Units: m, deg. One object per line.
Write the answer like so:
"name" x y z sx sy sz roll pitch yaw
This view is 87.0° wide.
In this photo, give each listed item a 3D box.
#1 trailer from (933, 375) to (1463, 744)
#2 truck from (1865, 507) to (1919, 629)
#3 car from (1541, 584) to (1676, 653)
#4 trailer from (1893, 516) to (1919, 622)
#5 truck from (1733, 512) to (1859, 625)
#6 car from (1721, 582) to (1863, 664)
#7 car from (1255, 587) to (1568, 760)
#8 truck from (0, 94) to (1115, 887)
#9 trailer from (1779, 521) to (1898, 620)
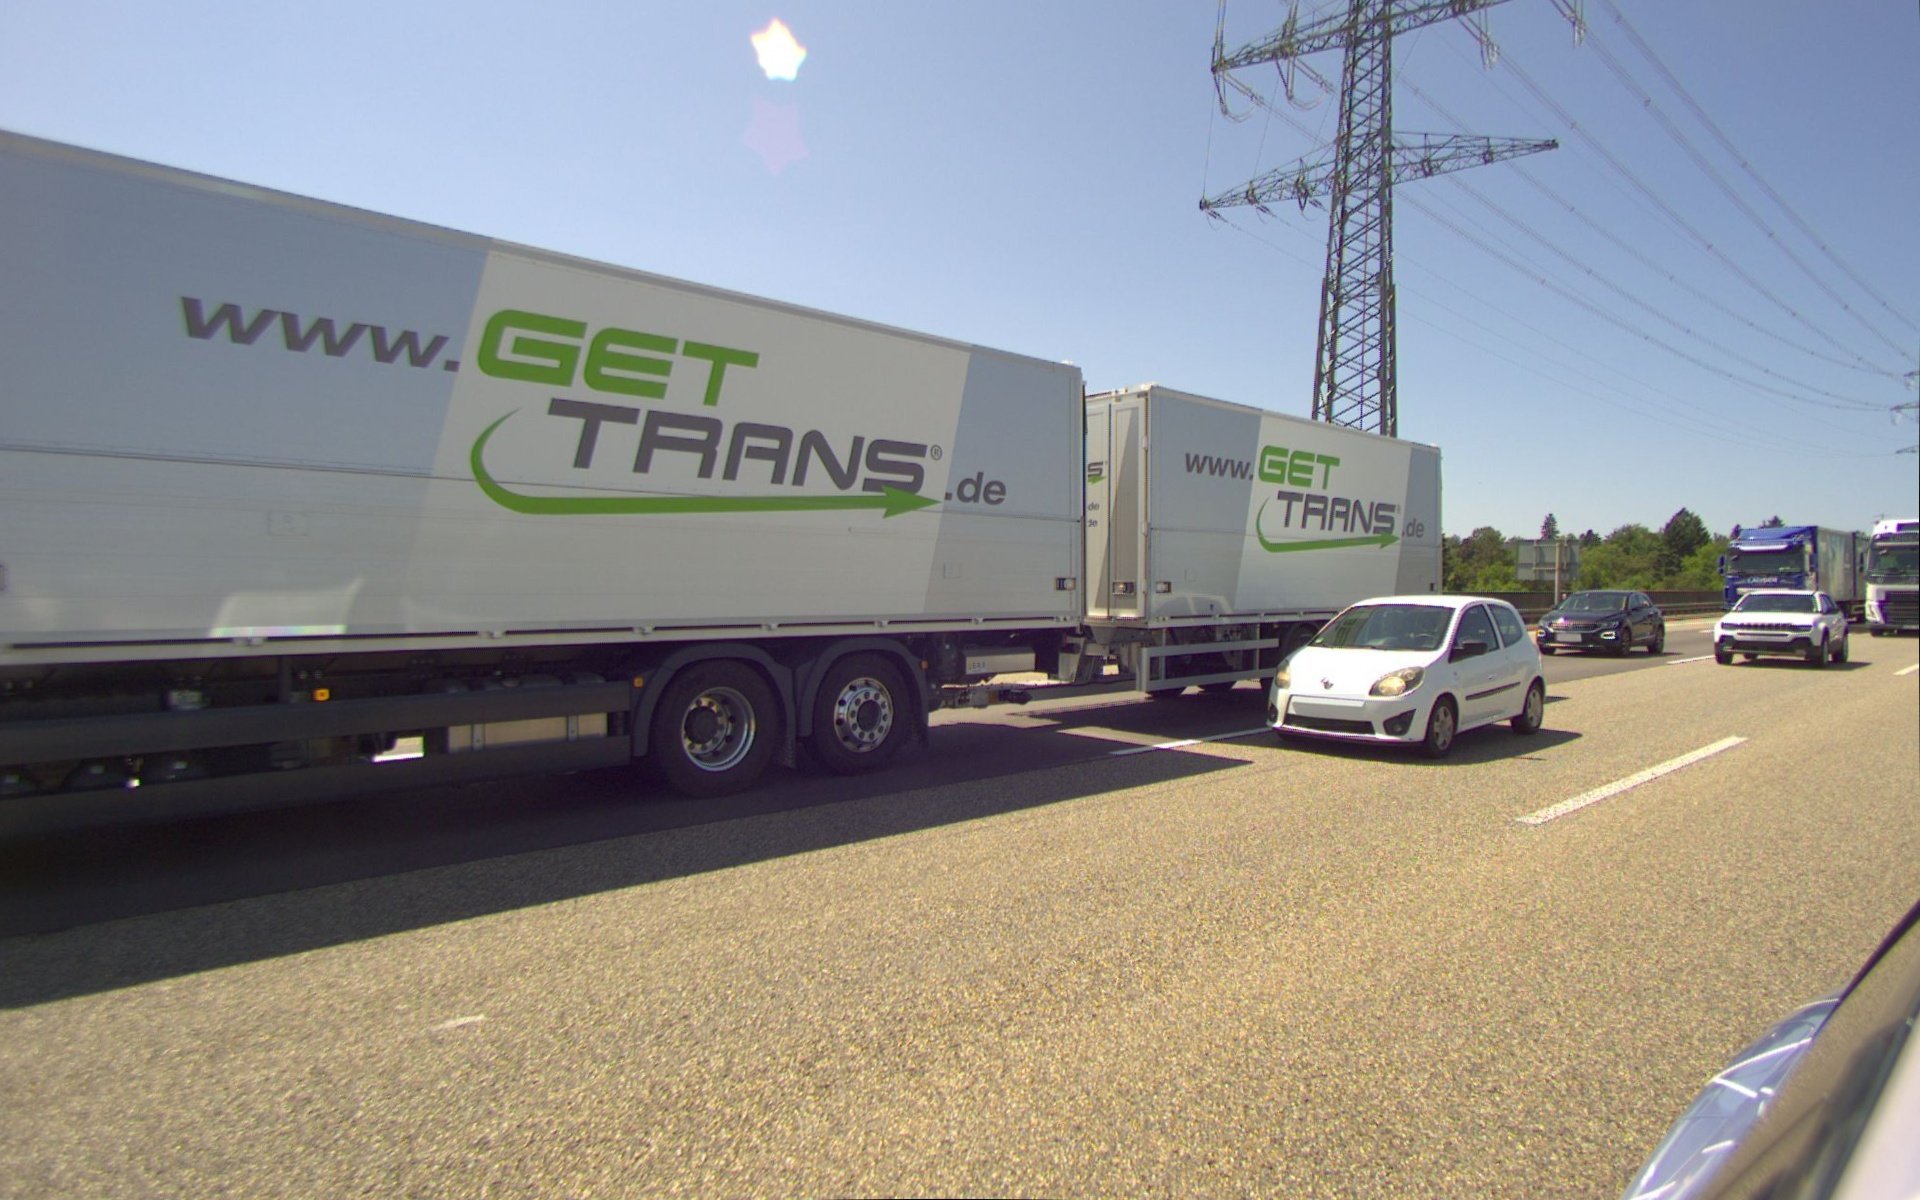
"trailer" 3.659 -0.439 13.776 8.148 3.640 2.848 -1 0 -42
"truck" 33.575 -1.086 34.762 6.624 3.941 2.911 -1 0 -41
"car" 15.478 0.380 24.097 3.821 1.524 1.708 -1 1 -41
"trailer" 39.677 -1.261 40.134 9.605 3.918 2.895 -1 0 -41
"truck" 32.913 -1.163 39.736 7.788 4.018 2.515 0 0 -41
"car" 17.289 0.414 20.980 3.688 1.554 1.720 -1 1 -41
"car" 4.714 0.604 10.375 3.566 1.458 1.582 -1 1 -41
"truck" -3.370 -0.525 7.505 10.583 3.648 2.855 -1 0 -42
"trailer" 39.911 -1.291 45.796 10.696 4.044 2.541 -1 0 -41
